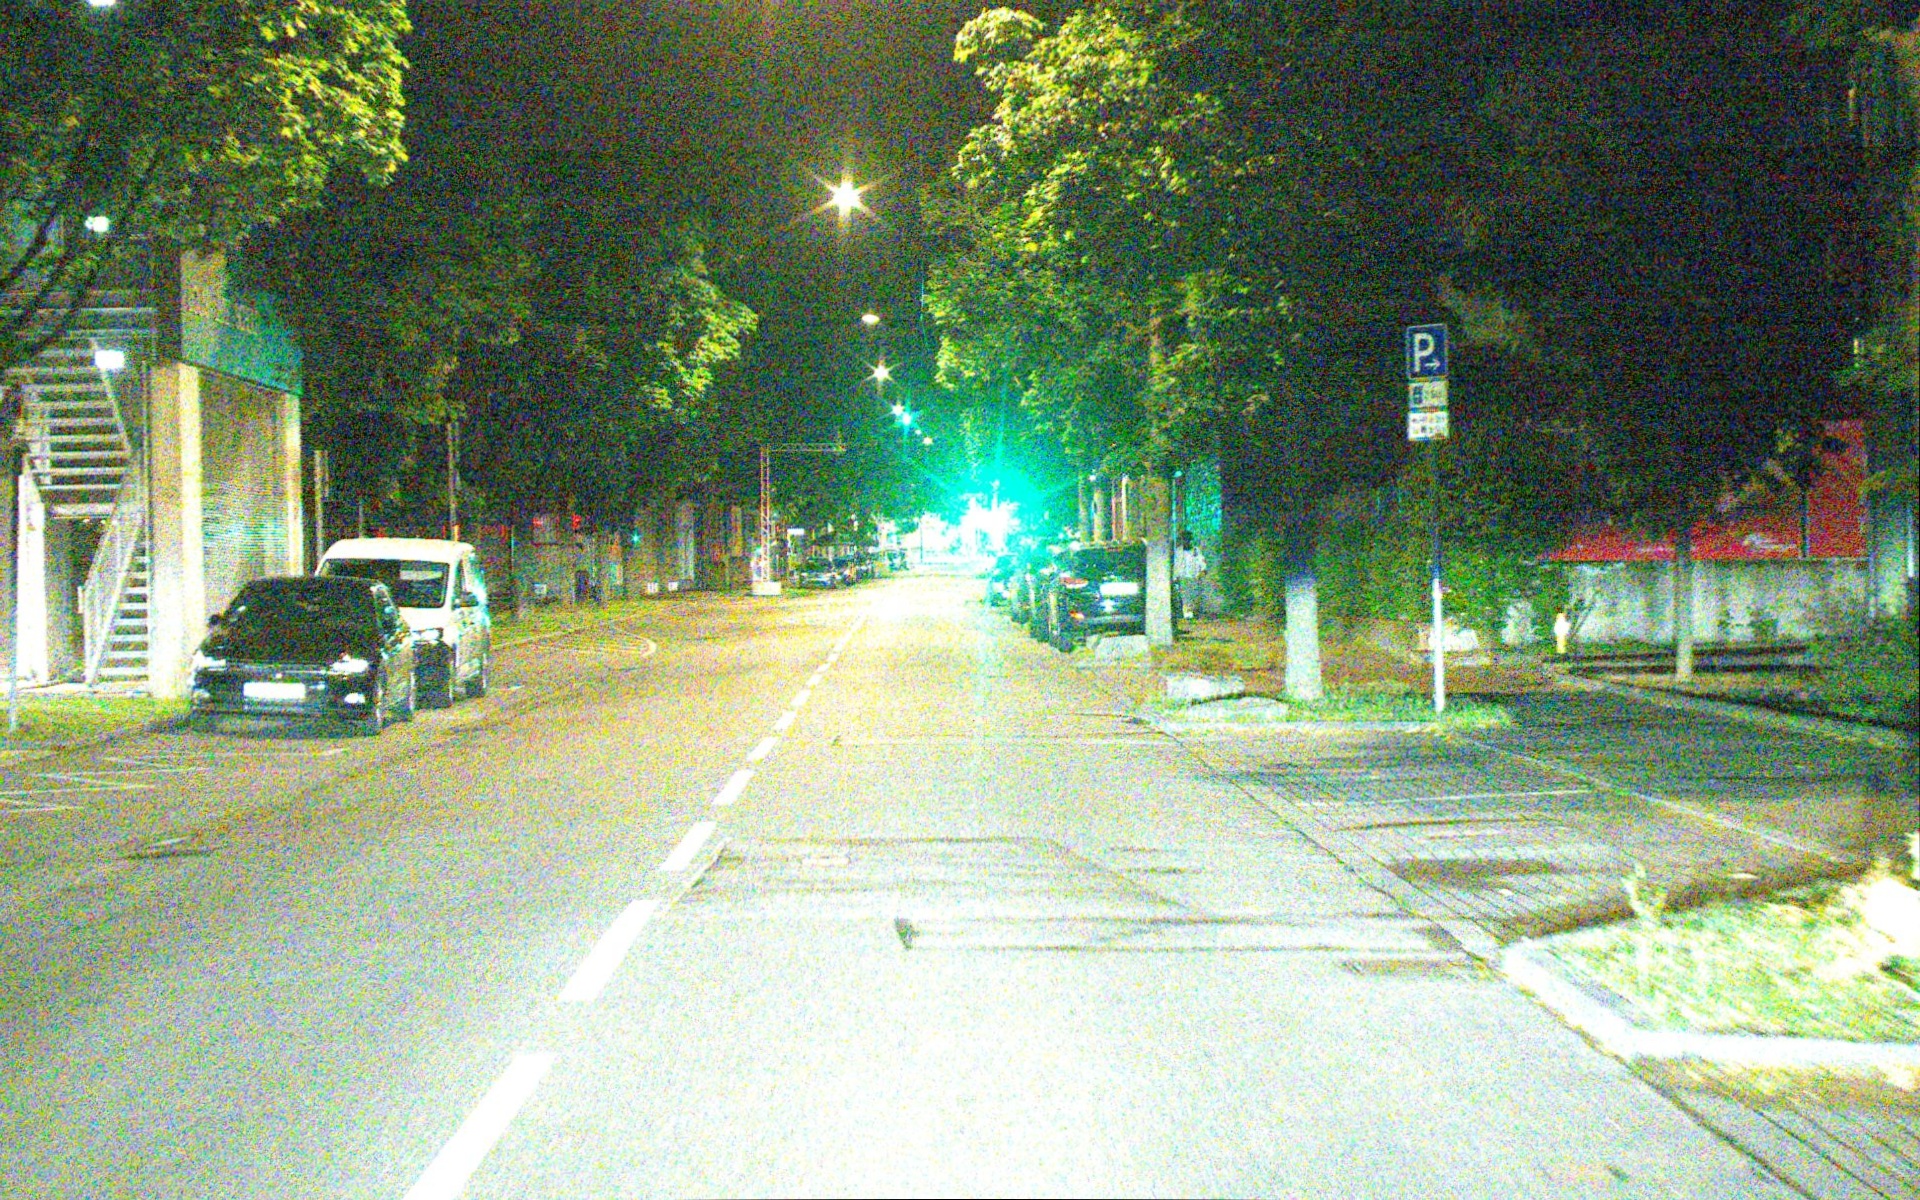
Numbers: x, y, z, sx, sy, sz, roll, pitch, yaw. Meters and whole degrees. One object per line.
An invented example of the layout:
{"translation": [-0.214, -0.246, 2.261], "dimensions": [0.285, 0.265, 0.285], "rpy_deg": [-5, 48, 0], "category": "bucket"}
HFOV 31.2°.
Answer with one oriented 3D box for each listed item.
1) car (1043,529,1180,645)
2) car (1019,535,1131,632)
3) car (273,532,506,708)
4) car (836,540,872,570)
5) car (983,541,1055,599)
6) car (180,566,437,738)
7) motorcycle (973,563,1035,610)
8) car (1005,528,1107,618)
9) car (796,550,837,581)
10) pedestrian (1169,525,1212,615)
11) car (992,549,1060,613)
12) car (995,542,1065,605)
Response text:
{"translation": [2.309, -0.238, 53.398], "dimensions": [1.853, 1.648, 4.209], "rpy_deg": [-3, 1, 0], "category": "car"}
{"translation": [2.012, -0.314, 59.505], "dimensions": [1.853, 1.599, 4.209], "rpy_deg": [-1, 1, 2], "category": "car"}
{"translation": [-6.348, 0.175, 38.675], "dimensions": [1.822, 1.805, 4.210], "rpy_deg": [2, 1, 1], "category": "car"}
{"translation": [-5.404, -2.288, 175.463], "dimensions": [1.740, 1.411, 3.752], "rpy_deg": [-1, 2, 0], "category": "car"}
{"translation": [1.662, -0.878, 97.836], "dimensions": [1.853, 1.585, 4.301], "rpy_deg": [-1, 1, -1], "category": "car"}
{"translation": [-6.112, 0.447, 32.621], "dimensions": [1.700, 1.428, 3.829], "rpy_deg": [2, 1, -1], "category": "car"}
{"translation": [1.216, -0.379, 93.888], "dimensions": [0.637, 1.265, 2.060], "rpy_deg": [0, 1, 34], "category": "motorcycle"}
{"translation": [2.022, -0.595, 73.543], "dimensions": [1.771, 1.800, 4.278], "rpy_deg": [-3, 1, -3], "category": "car"}
{"translation": [-6.709, -1.609, 161.167], "dimensions": [1.740, 1.411, 3.752], "rpy_deg": [-1, 1, 0], "category": "car"}
{"translation": [4.515, -0.592, 67.378], "dimensions": [0.705, 1.716, 0.821], "rpy_deg": [-2, 1, 0], "category": "pedestrian"}
{"translation": [1.540, -0.465, 81.325], "dimensions": [1.520, 1.391, 3.984], "rpy_deg": [-2, 1, 0], "category": "car"}
{"translation": [1.824, -0.710, 90.467], "dimensions": [1.591, 1.529, 4.138], "rpy_deg": [-3, 1, -1], "category": "car"}
